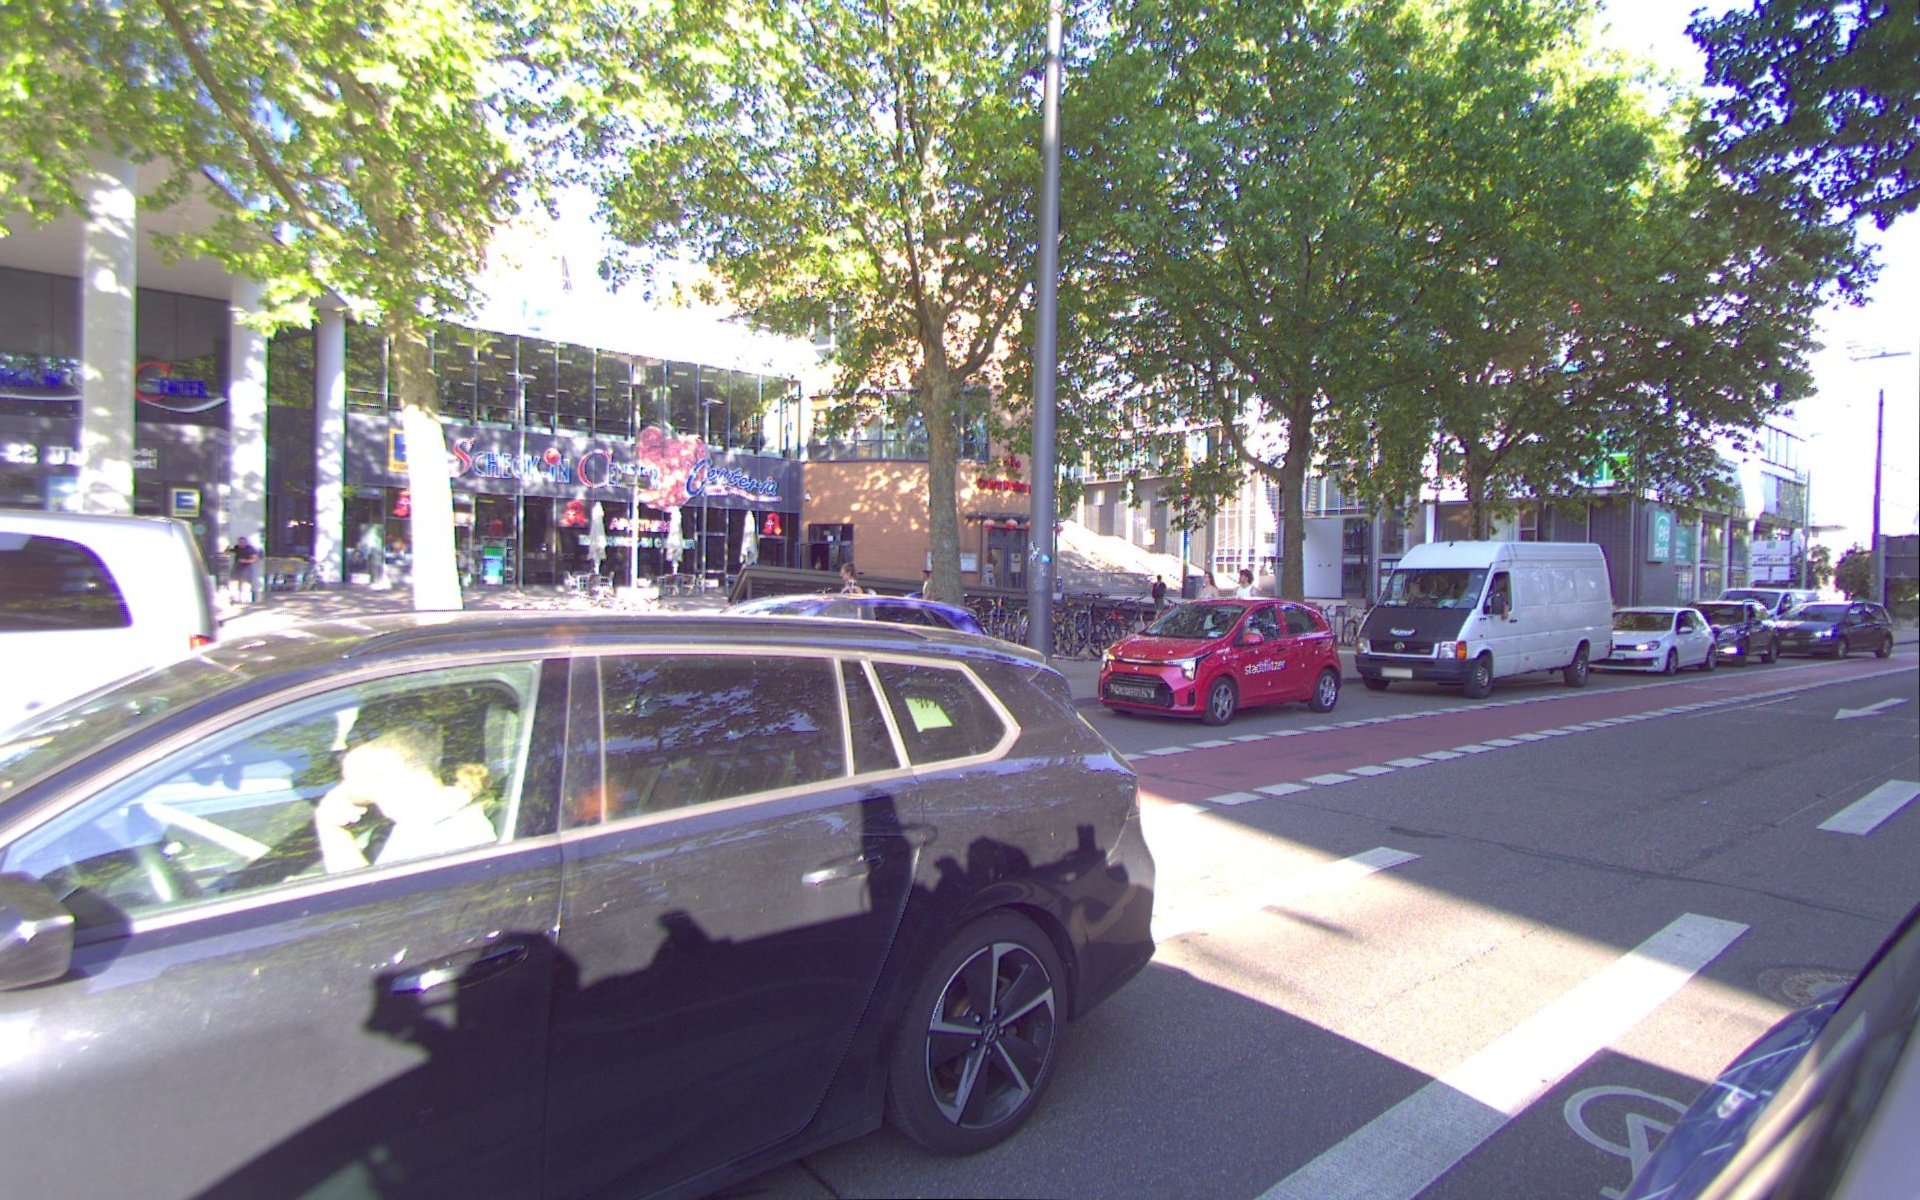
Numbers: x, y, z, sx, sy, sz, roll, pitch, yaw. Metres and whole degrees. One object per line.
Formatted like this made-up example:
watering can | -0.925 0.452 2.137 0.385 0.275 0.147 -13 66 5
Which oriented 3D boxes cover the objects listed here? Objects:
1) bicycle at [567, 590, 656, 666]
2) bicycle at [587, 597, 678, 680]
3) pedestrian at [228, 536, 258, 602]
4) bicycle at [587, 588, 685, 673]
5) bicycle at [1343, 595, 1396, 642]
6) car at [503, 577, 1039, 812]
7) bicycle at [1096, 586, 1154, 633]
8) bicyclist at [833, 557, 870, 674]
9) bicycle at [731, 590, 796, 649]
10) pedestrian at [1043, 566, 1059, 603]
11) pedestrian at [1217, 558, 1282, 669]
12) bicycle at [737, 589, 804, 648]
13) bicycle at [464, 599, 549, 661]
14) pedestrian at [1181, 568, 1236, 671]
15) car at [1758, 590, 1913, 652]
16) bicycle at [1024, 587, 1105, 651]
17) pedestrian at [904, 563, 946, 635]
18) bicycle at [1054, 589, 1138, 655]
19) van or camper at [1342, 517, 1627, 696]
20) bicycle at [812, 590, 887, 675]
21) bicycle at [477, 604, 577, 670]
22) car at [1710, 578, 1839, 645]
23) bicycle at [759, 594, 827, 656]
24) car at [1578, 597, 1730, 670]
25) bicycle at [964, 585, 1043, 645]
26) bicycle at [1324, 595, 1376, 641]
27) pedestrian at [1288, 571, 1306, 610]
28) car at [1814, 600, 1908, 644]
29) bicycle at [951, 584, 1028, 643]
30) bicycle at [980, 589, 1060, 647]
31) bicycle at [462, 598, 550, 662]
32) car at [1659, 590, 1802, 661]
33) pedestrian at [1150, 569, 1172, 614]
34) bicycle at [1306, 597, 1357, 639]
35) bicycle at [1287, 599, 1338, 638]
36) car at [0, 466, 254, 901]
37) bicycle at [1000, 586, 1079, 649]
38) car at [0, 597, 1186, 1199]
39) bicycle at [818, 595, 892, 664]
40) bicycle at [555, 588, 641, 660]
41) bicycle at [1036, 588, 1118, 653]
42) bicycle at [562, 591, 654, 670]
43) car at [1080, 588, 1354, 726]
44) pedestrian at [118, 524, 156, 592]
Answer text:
bicycle | -5.358 0.407 15.593 0.372 1.110 1.269 2 1 41
bicycle | -4.578 0.523 14.185 1.202 1.110 0.269 0 1 -40
pedestrian | -18.681 -0.801 26.386 0.506 1.707 0.604 1 1 -23
bicycle | -4.433 0.400 13.888 1.202 1.110 0.413 0 1 -40
bicycle | 11.034 0.479 27.238 1.818 1.209 0.521 0 2 -41
car | -1.422 0.596 8.617 4.177 1.503 1.742 0 2 -41
bicycle | 4.423 0.250 27.034 1.759 1.209 0.517 0 2 -41
bicyclist | -1.689 0.233 15.692 0.392 1.782 0.390 0 1 -41
bicycle | -3.886 0.373 20.053 1.202 1.110 0.429 0 1 -40
pedestrian | 5.156 -0.856 57.183 0.861 2.062 0.585 1 1 6
pedestrian | 5.102 0.226 17.830 0.642 1.867 0.801 7 4 45
bicycle | -3.641 0.344 19.510 1.202 1.110 0.444 0 1 -40
bicycle | -7.119 0.463 15.925 1.198 0.938 0.465 1 1 -22
pedestrian | 4.479 0.329 18.211 0.646 1.799 0.752 2 1 43
car | 25.240 0.582 29.164 4.242 1.640 1.970 0 1 -28
bicycle | 2.112 0.363 20.264 1.818 1.209 0.484 0 2 -41
pedestrian | -0.866 -0.039 25.136 0.798 1.728 0.712 2 1 25
bicycle | 2.623 0.400 19.370 1.818 1.209 0.481 0 2 -41
van or camper | 9.284 0.080 17.578 6.456 2.611 1.998 0 0 -39
bicycle | -1.711 0.486 15.704 1.126 1.271 0.379 0 1 -41
bicycle | -6.236 0.519 14.601 1.231 0.898 0.462 0 1 -40
car | 26.538 0.347 32.912 4.863 2.020 1.968 0 1 -35
bicycle | -3.101 0.445 18.852 1.202 1.110 0.427 0 1 -40
car | 15.365 0.679 22.339 3.927 1.446 1.683 0 1 -38
bicycle | 0.937 0.297 21.353 1.818 1.209 0.458 0 1 -41
bicycle | 10.666 0.486 27.637 1.818 1.209 0.495 0 2 -41
pedestrian | 19.071 -0.563 57.274 0.826 2.183 0.852 2 1 26
car | 31.661 0.737 35.534 3.927 1.394 1.802 0 2 -38
bicycle | 0.638 0.272 21.706 1.818 1.209 0.434 0 1 -41
bicycle | 1.257 0.352 20.973 1.818 1.139 0.484 0 2 -41
bicycle | -6.957 0.454 15.547 1.198 0.930 0.442 1 1 -22
car | 19.659 0.592 25.767 4.148 1.640 1.819 0 1 -36
pedestrian | 7.092 -0.301 35.649 0.707 1.578 0.638 1 1 14
bicycle | 10.310 0.485 28.049 1.766 1.108 0.522 0 2 -41
bicycle | 9.927 0.506 28.459 1.818 1.046 0.515 0 2 -41
car | -6.214 0.358 4.379 5.008 2.004 1.940 0 2 -41
bicycle | 1.630 0.340 20.525 1.818 1.209 0.447 0 1 -41
car | -1.433 0.712 2.463 4.196 1.432 1.742 0 0 -41
bicycle | -1.769 0.480 17.122 1.202 1.110 0.420 0 1 -40
bicycle | -5.820 0.367 16.312 0.414 1.110 1.269 2 1 41
bicycle | 2.300 0.389 19.755 1.818 1.209 0.448 0 1 -41
bicycle | -5.155 0.425 14.845 1.202 1.110 0.396 0 1 -40
car | 3.332 0.610 12.806 3.588 1.476 1.605 0 1 -41
pedestrian | -22.253 -1.132 27.378 0.590 1.805 0.889 1 1 -24
